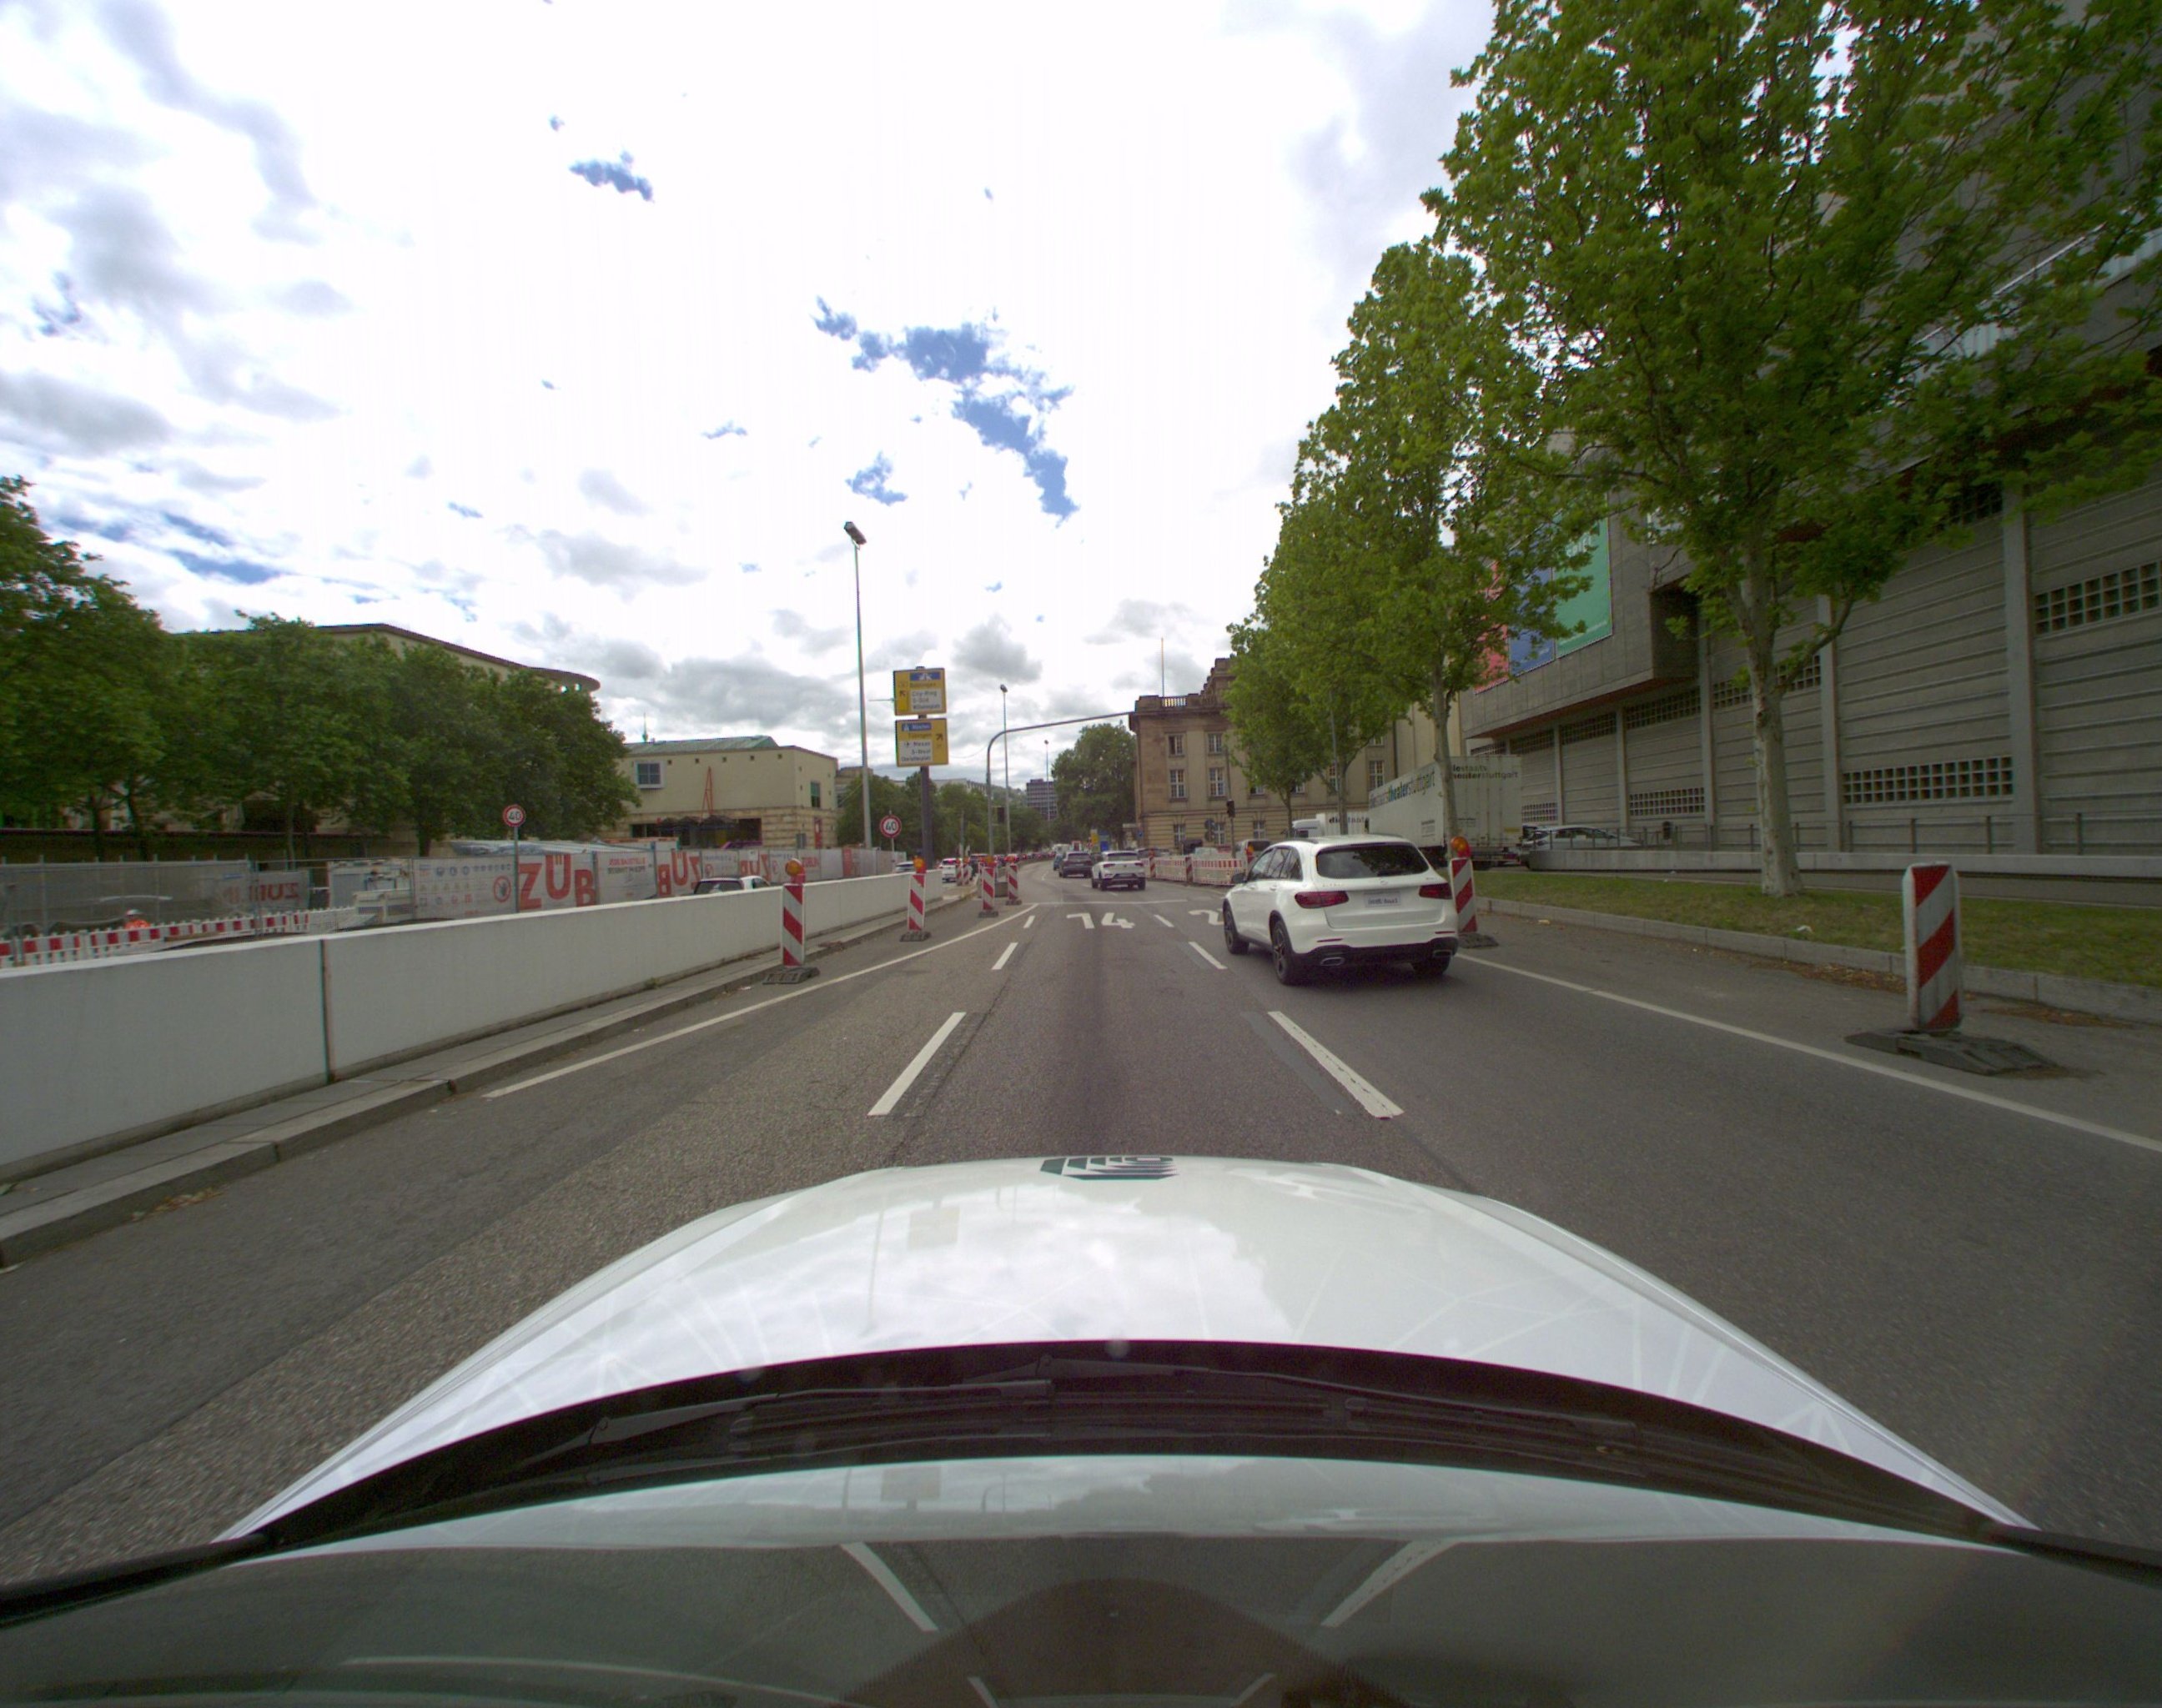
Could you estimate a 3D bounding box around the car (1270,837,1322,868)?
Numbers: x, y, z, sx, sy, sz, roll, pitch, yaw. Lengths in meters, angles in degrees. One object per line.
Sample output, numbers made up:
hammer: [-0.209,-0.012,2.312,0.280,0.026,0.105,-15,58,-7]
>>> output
car: [11.978,-0.056,45.620,1.849,1.568,4.333,-2,0,2]

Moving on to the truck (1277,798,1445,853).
truck: [18.261,-1.835,53.538,9.992,3.050,2.570,-3,-1,1]

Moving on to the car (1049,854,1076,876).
car: [-1.630,0.956,73.448,1.814,1.740,4.487,-3,1,6]

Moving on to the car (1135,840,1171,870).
car: [4.089,0.064,46.929,1.744,1.568,4.333,-2,0,2]

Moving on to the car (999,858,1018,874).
car: [-7.883,1.298,88.774,1.746,1.567,4.328,-2,0,-2]

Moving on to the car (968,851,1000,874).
car: [-7.216,0.620,61.042,1.744,1.567,3.379,-5,0,2]

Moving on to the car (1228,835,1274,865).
car: [9.515,-0.212,45.930,1.744,1.568,4.333,-2,0,2]

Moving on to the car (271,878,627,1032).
car: [-8.866,1.299,11.987,1.986,1.641,4.001,-3,0,1]

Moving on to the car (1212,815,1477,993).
car: [3.039,0.476,10.529,1.806,1.642,4.551,-5,1,-1]

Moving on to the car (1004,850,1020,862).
car: [-9.398,0.216,111.224,1.746,1.567,4.329,-2,0,-1]

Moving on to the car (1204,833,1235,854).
car: [11.291,-0.800,66.624,1.849,1.568,4.333,-2,0,2]

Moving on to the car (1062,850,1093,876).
car: [-0.253,0.532,51.929,1.819,1.567,4.475,0,1,-3]

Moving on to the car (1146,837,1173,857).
car: [6.409,-0.551,66.633,1.849,1.568,4.333,-2,0,2]

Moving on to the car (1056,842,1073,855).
car: [-3.201,-1.102,158.481,2.569,2.374,5.535,-3,1,6]

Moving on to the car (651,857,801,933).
car: [-9.021,0.961,21.108,1.986,1.641,4.001,-3,0,1]

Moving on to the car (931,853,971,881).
car: [-7.923,0.781,49.894,1.744,1.567,3.379,-3,0,2]

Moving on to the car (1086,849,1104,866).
car: [1.454,0.323,82.611,1.817,1.567,4.481,0,1,1]

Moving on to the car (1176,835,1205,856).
car: [8.845,-0.665,65.984,1.849,1.568,4.333,-2,0,2]

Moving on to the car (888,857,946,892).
car: [-8.089,0.961,40.507,1.743,1.567,4.335,-2,0,3]

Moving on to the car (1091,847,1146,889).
car: [1.472,0.559,33.469,1.747,1.568,4.325,-2,0,-4]

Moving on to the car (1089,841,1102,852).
car: [3.413,-1.679,188.295,2.569,2.374,5.535,-3,1,6]

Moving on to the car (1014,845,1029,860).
car: [-8.917,-0.241,121.755,1.988,2.013,3.998,-3,2,-2]

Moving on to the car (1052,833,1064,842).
car: [-6.601,-4.826,232.532,2.569,2.374,5.535,-3,1,6]

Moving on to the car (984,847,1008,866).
car: [-7.620,0.201,73.230,1.746,1.567,4.329,-2,0,-1]

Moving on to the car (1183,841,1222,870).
car: [7.157,0.083,48.210,1.744,1.568,4.333,-2,0,2]
